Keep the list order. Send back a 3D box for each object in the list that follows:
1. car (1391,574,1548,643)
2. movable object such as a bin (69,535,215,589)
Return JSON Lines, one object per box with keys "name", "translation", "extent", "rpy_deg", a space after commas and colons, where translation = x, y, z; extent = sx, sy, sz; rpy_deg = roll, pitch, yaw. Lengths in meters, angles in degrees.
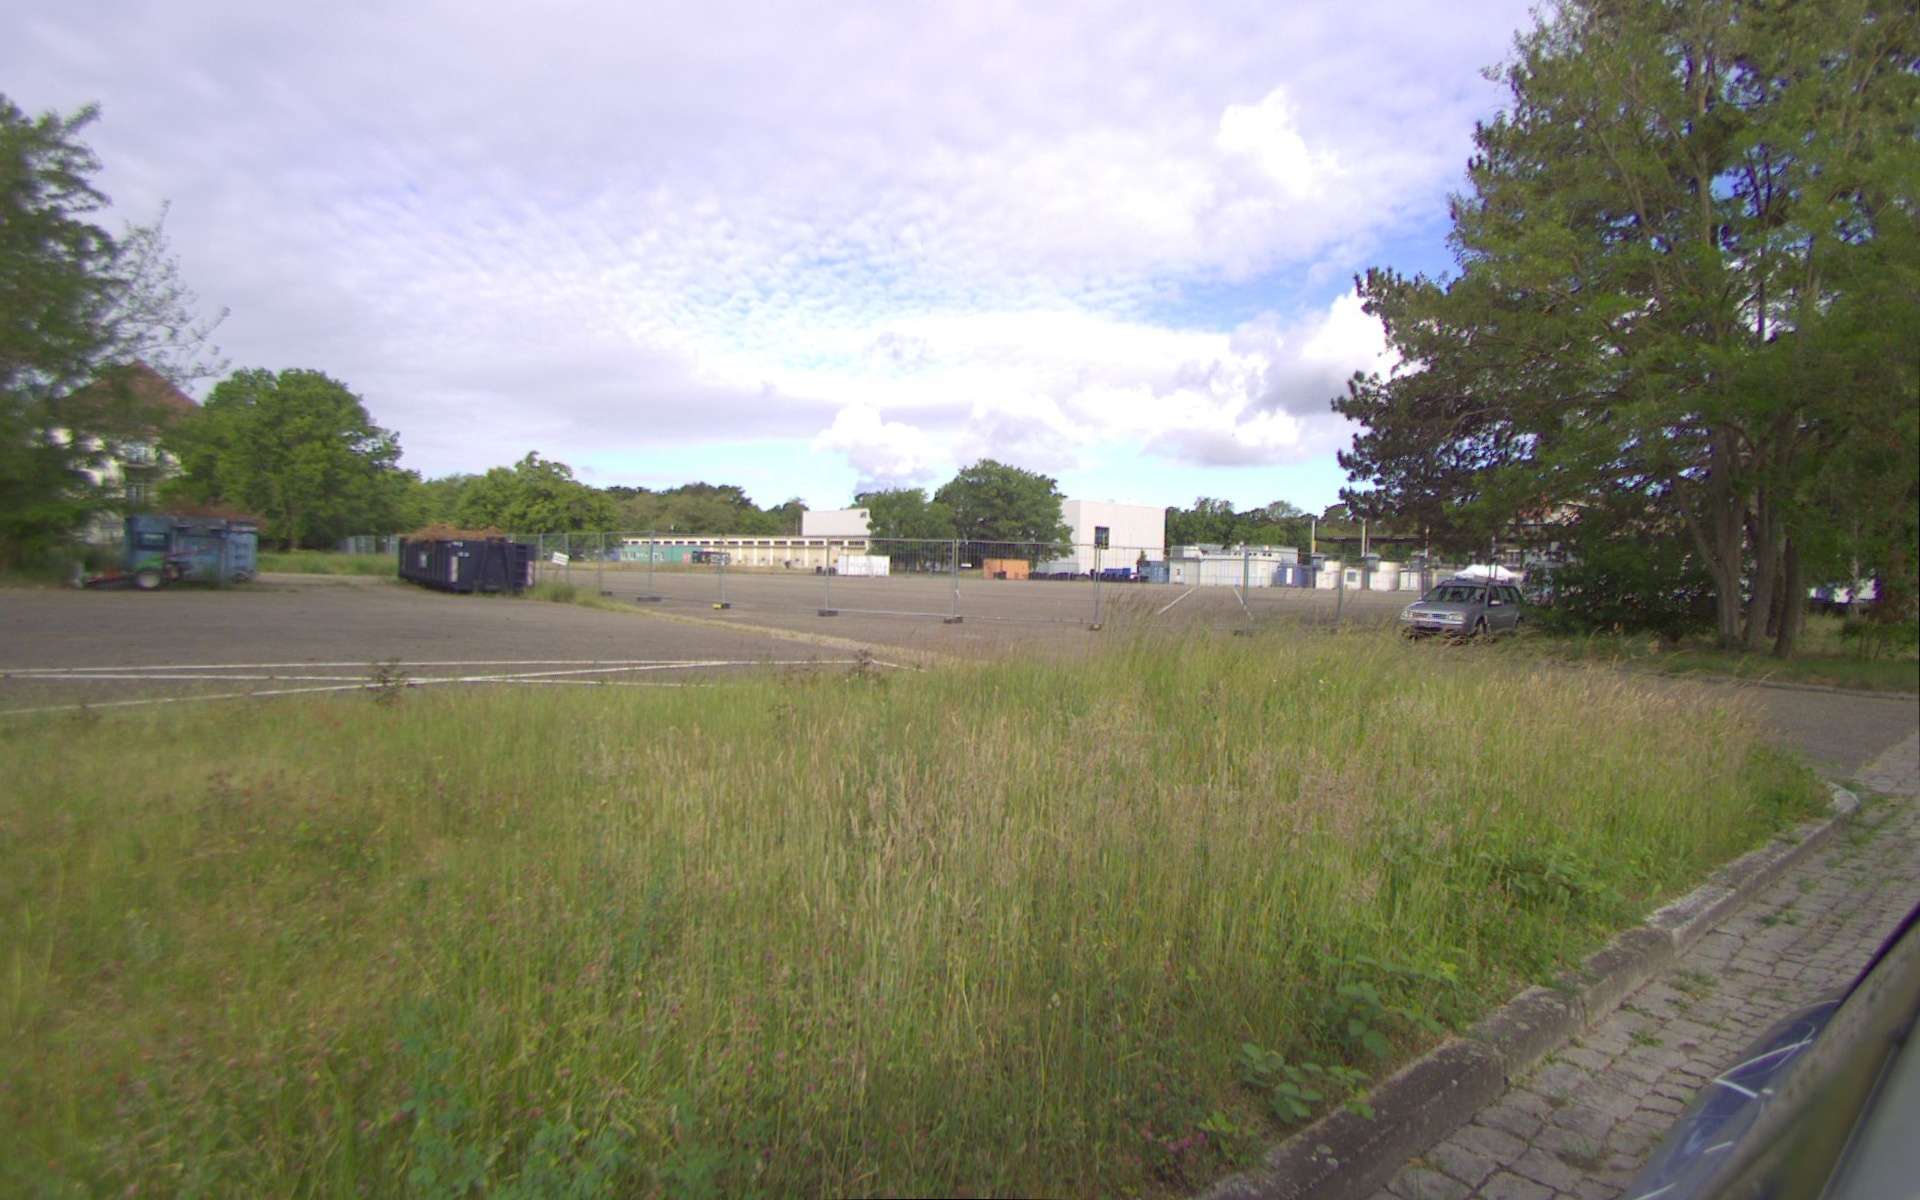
{"name": "car", "translation": [12.237, 0.162, 24.204], "extent": [4.249, 1.466, 1.759], "rpy_deg": [0, 2, -39]}
{"name": "movable object such as a bin", "translation": [-18.513, -0.843, 22.950], "extent": [2.499, 1.097, 1.064], "rpy_deg": [2, 1, -42]}
